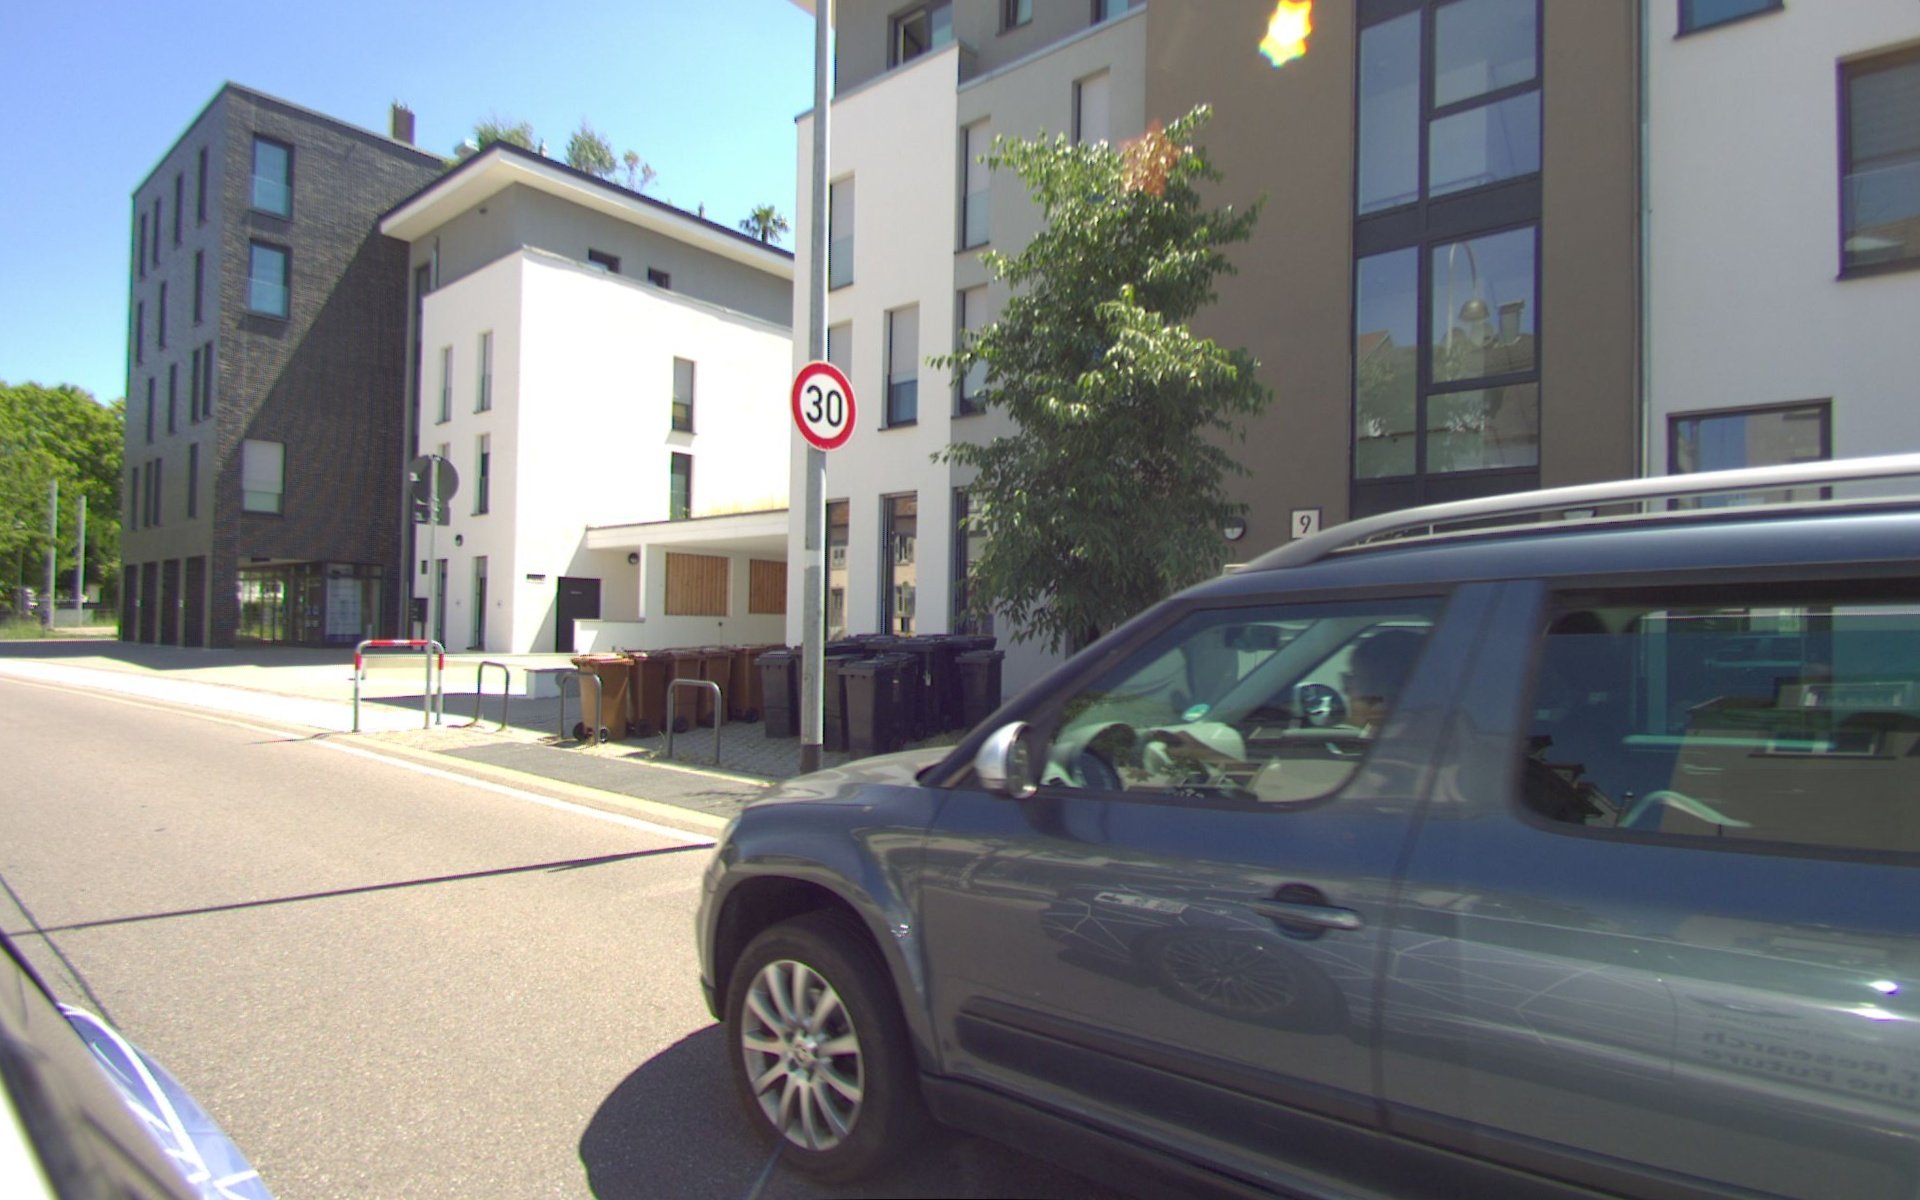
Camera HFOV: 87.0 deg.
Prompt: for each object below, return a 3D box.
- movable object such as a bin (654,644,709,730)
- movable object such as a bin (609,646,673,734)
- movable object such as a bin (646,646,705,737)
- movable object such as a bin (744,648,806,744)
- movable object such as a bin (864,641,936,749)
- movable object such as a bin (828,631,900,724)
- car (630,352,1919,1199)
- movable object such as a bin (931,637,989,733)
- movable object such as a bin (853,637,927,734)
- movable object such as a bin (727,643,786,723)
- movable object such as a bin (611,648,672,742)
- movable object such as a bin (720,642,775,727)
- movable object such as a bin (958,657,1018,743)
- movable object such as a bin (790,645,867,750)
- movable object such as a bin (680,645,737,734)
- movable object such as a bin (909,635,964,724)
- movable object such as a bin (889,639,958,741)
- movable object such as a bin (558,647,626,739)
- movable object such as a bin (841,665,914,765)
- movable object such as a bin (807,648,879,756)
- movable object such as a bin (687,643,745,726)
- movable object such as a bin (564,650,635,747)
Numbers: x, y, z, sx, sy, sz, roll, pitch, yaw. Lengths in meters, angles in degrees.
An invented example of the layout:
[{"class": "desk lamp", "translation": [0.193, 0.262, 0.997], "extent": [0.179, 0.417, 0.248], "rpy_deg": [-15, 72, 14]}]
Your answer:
[{"class": "movable object such as a bin", "translation": [-3.432, 1.058, 12.470], "extent": [0.523, 1.005, 0.420], "rpy_deg": [-1, -2, 40]}, {"class": "movable object such as a bin", "translation": [-3.813, 1.058, 12.089], "extent": [0.587, 1.005, 0.478], "rpy_deg": [-1, -2, 39]}, {"class": "movable object such as a bin", "translation": [-3.286, 1.044, 11.696], "extent": [0.555, 1.005, 0.399], "rpy_deg": [-1, -2, 39]}, {"class": "movable object such as a bin", "translation": [-2.032, 1.039, 11.124], "extent": [0.402, 1.005, 0.551], "rpy_deg": [0, -2, 27]}, {"class": "movable object such as a bin", "translation": [-0.613, 0.957, 10.384], "extent": [0.542, 1.047, 0.551], "rpy_deg": [0, -2, 23]}, {"class": "movable object such as a bin", "translation": [-1.188, 0.944, 12.621], "extent": [0.643, 1.104, 0.689], "rpy_deg": [0, -2, 23]}, {"class": "car", "translation": [1.135, 0.573, 2.424], "extent": [4.073, 1.714, 1.792], "rpy_deg": [-1, -1, 40]}, {"class": "movable object such as a bin", "translation": [0.003, 0.956, 11.568], "extent": [0.478, 1.047, 0.551], "rpy_deg": [0, -2, 23]}, {"class": "movable object such as a bin", "translation": [-0.787, 0.952, 11.550], "extent": [0.601, 1.047, 0.672], "rpy_deg": [0, -2, 23]}, {"class": "movable object such as a bin", "translation": [-2.676, 1.071, 13.297], "extent": [0.586, 1.005, 0.479], "rpy_deg": [0, -2, 33]}, {"class": "movable object such as a bin", "translation": [-3.577, 1.045, 11.351], "extent": [0.555, 1.005, 0.399], "rpy_deg": [-1, -2, 39]}, {"class": "movable object such as a bin", "translation": [-2.623, 1.022, 12.487], "extent": [0.555, 1.005, 0.399], "rpy_deg": [-1, -2, 39]}, {"class": "movable object such as a bin", "translation": [0.308, 1.059, 10.912], "extent": [0.478, 0.874, 0.551], "rpy_deg": [0, -2, 23]}, {"class": "movable object such as a bin", "translation": [-1.368, 0.996, 10.534], "extent": [0.559, 1.028, 0.549], "rpy_deg": [-1, -2, 36]}, {"class": "movable object such as a bin", "translation": [-2.992, 1.050, 12.045], "extent": [0.555, 1.005, 0.399], "rpy_deg": [-1, -2, 39]}, {"class": "movable object such as a bin", "translation": [-0.280, 0.951, 12.303], "extent": [0.478, 1.047, 0.551], "rpy_deg": [0, -2, 23]}, {"class": "movable object such as a bin", "translation": [-0.385, 0.956, 10.926], "extent": [0.547, 1.047, 0.573], "rpy_deg": [0, -2, 23]}, {"class": "movable object such as a bin", "translation": [-4.234, 1.057, 11.645], "extent": [0.587, 1.005, 0.478], "rpy_deg": [-1, -2, 36]}, {"class": "movable object such as a bin", "translation": [-0.768, 1.064, 9.510], "extent": [0.478, 0.874, 0.551], "rpy_deg": [0, -2, 23]}, {"class": "movable object such as a bin", "translation": [-1.146, 0.988, 9.955], "extent": [0.427, 1.005, 0.548], "rpy_deg": [-1, -2, 42]}, {"class": "movable object such as a bin", "translation": [-3.090, 1.054, 12.826], "extent": [0.526, 1.005, 0.478], "rpy_deg": [-1, -2, 38]}, {"class": "movable object such as a bin", "translation": [-3.921, 1.054, 11.013], "extent": [0.587, 1.005, 0.478], "rpy_deg": [-1, -2, 39]}]
